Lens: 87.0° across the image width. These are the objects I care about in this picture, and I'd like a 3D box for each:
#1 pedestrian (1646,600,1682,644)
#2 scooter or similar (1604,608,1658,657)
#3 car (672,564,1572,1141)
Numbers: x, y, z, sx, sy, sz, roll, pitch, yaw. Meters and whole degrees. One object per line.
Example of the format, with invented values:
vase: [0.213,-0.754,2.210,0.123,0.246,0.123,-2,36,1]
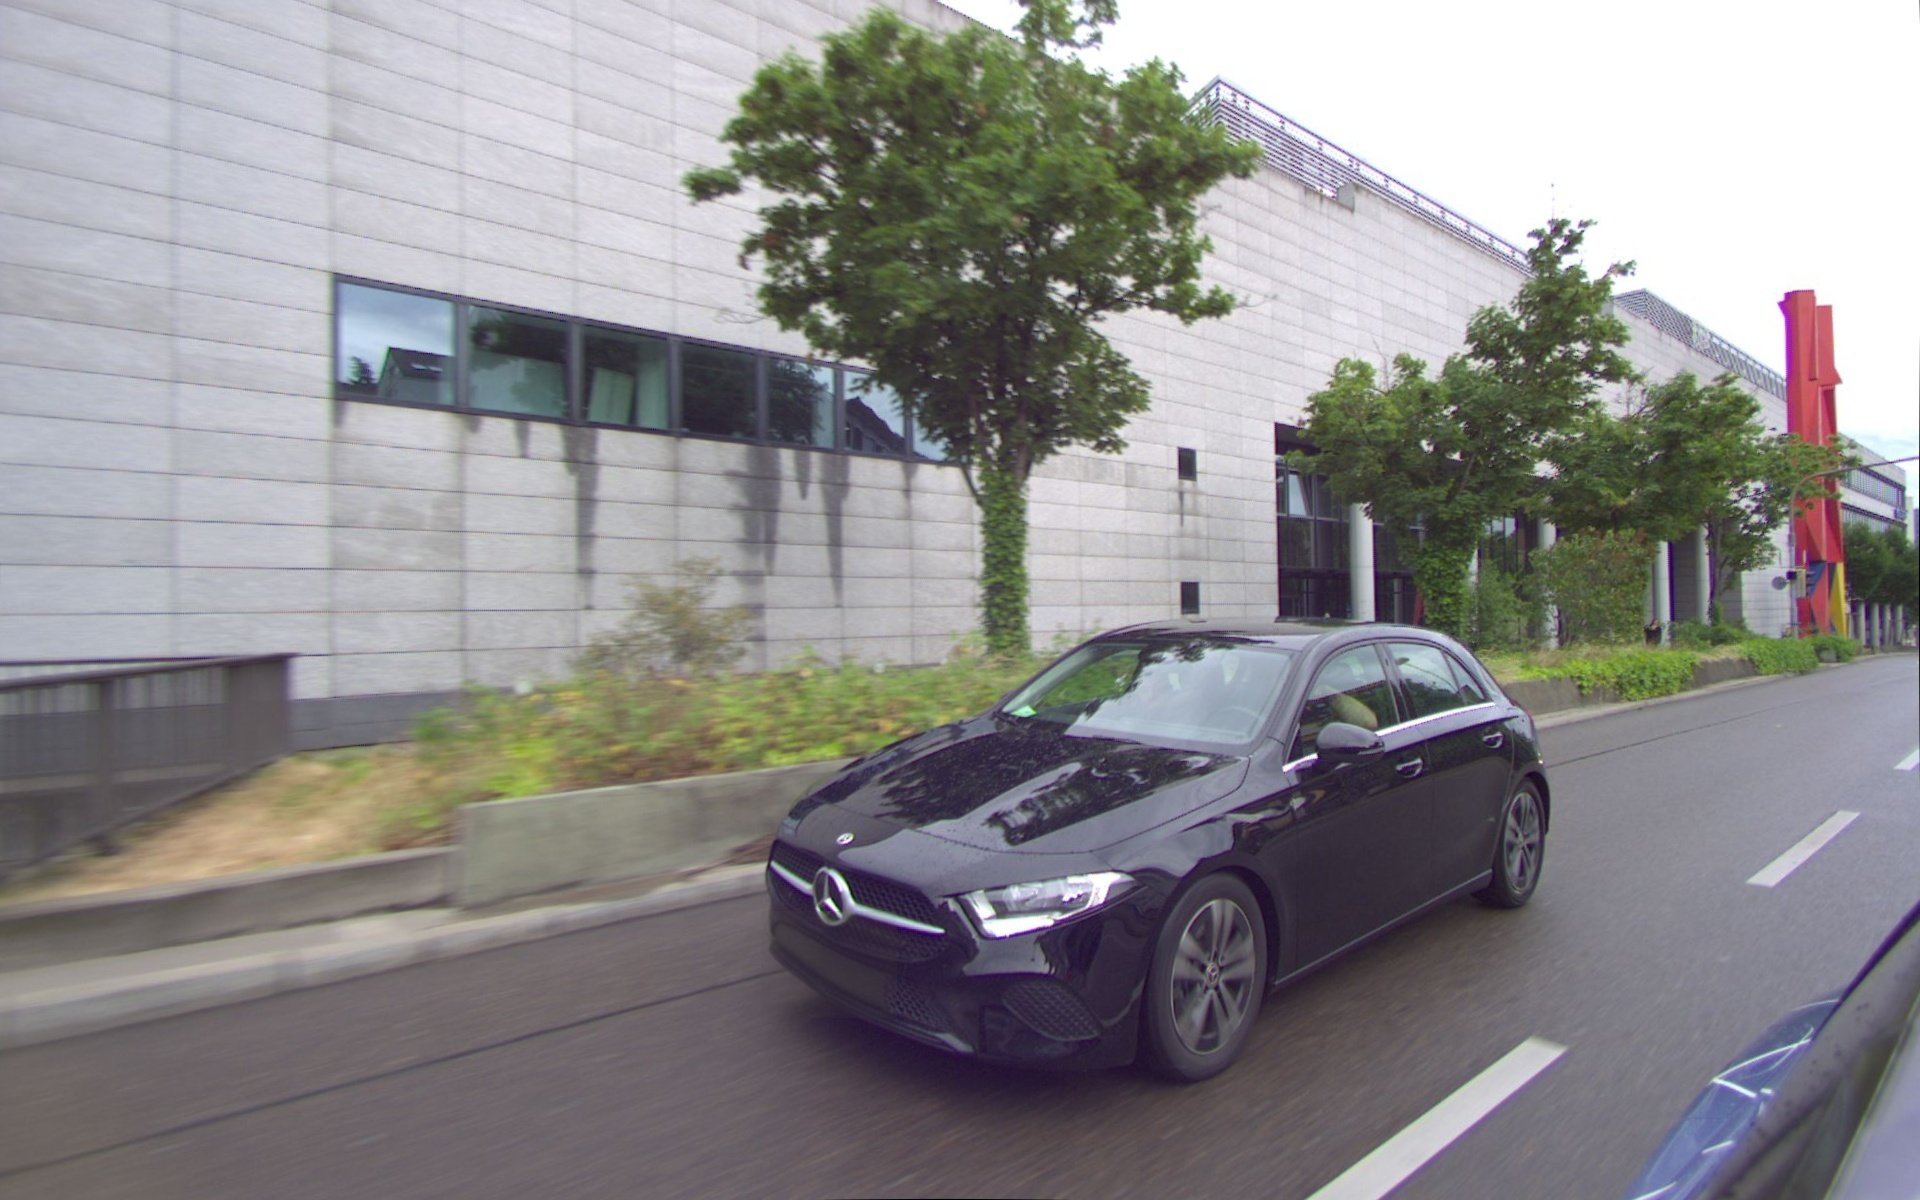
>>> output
pedestrian: [26.367,0.818,37.897,0.828,1.606,0.971,2,-2,-44]
scooter or similar: [21.629,1.049,32.621,0.493,1.551,1.326,2,-3,-38]
car: [1.042,0.705,4.646,4.131,1.455,1.875,2,-2,-41]
